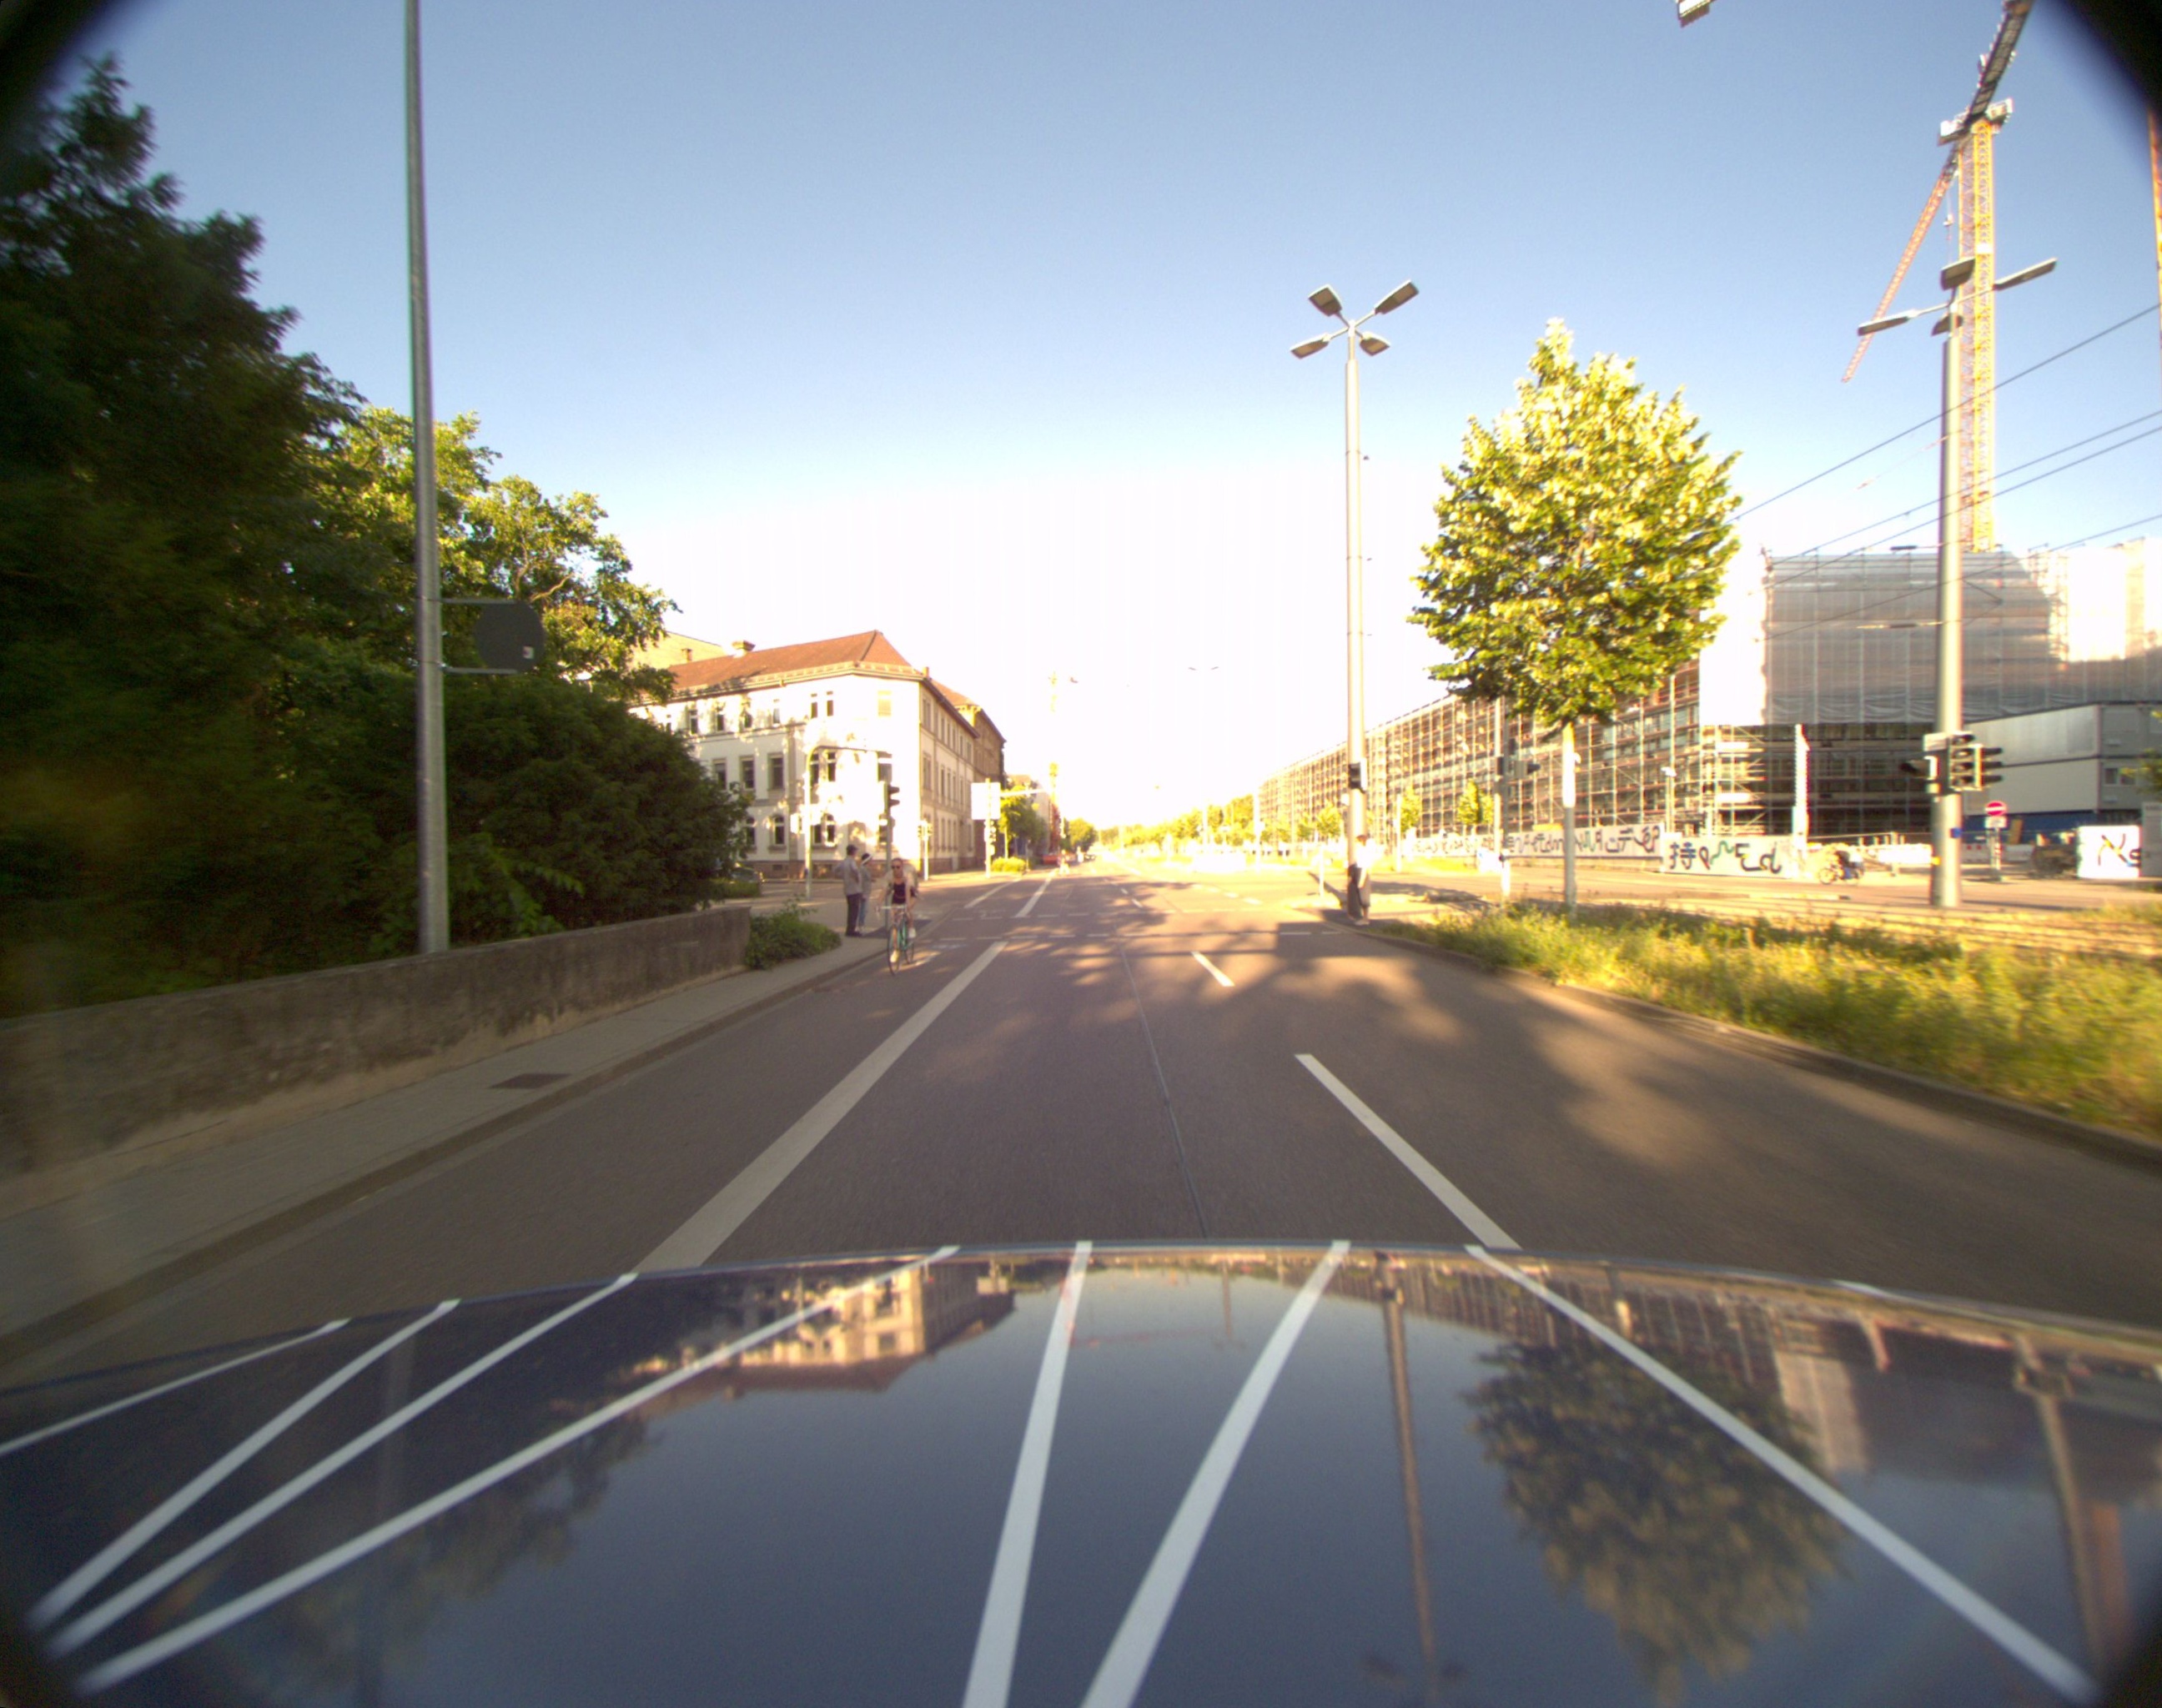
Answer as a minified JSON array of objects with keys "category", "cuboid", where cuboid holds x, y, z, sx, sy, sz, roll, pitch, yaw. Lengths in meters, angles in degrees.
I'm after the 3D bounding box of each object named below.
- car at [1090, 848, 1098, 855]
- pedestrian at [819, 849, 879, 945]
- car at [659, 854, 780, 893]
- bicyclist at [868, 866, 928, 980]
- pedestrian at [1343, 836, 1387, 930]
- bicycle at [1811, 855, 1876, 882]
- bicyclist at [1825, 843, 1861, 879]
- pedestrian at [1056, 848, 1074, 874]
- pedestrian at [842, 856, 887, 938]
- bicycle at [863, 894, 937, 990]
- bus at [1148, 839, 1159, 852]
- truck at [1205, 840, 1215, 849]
[{"category":"car","cuboid":[3.117,-0.601,182.582,1.998,1.696,4.000,-1,1,1]},{"category":"pedestrian","cuboid":[-4.552,0.820,14.883,0.861,1.792,0.905,1,1,-34]},{"category":"car","cuboid":[-14.679,0.757,30.846,4.590,1.466,1.906,0,2,25]},{"category":"bicyclist","cuboid":[-2.523,0.914,10.573,0.554,1.482,1.081,-1,1,1]},{"category":"pedestrian","cuboid":[5.278,0.526,14.136,0.599,1.689,0.714,0,1,6]},{"category":"bicycle","cuboid":[31.357,0.578,31.295,0.626,1.061,2.078,-1,1,2]},{"category":"bicyclist","cuboid":[31.350,0.262,31.270,0.626,1.456,0.851,-1,1,1]},{"category":"pedestrian","cuboid":[-1.048,0.453,49.269,0.925,1.639,0.766,0,1,23]},{"category":"pedestrian","cuboid":[-4.445,0.872,15.669,0.769,1.627,0.769,1,1,-9]},{"category":"bicycle","cuboid":[-2.503,1.181,10.714,0.522,1.091,1.842,-3,1,1]},{"category":"bus","cuboid":[18.495,-2.225,194.447,2.723,3.203,8.658,-1,0,5]},{"category":"truck","cuboid":[35.027,-2.577,206.054,2.143,2.559,4.740,-1,0,3]}]
